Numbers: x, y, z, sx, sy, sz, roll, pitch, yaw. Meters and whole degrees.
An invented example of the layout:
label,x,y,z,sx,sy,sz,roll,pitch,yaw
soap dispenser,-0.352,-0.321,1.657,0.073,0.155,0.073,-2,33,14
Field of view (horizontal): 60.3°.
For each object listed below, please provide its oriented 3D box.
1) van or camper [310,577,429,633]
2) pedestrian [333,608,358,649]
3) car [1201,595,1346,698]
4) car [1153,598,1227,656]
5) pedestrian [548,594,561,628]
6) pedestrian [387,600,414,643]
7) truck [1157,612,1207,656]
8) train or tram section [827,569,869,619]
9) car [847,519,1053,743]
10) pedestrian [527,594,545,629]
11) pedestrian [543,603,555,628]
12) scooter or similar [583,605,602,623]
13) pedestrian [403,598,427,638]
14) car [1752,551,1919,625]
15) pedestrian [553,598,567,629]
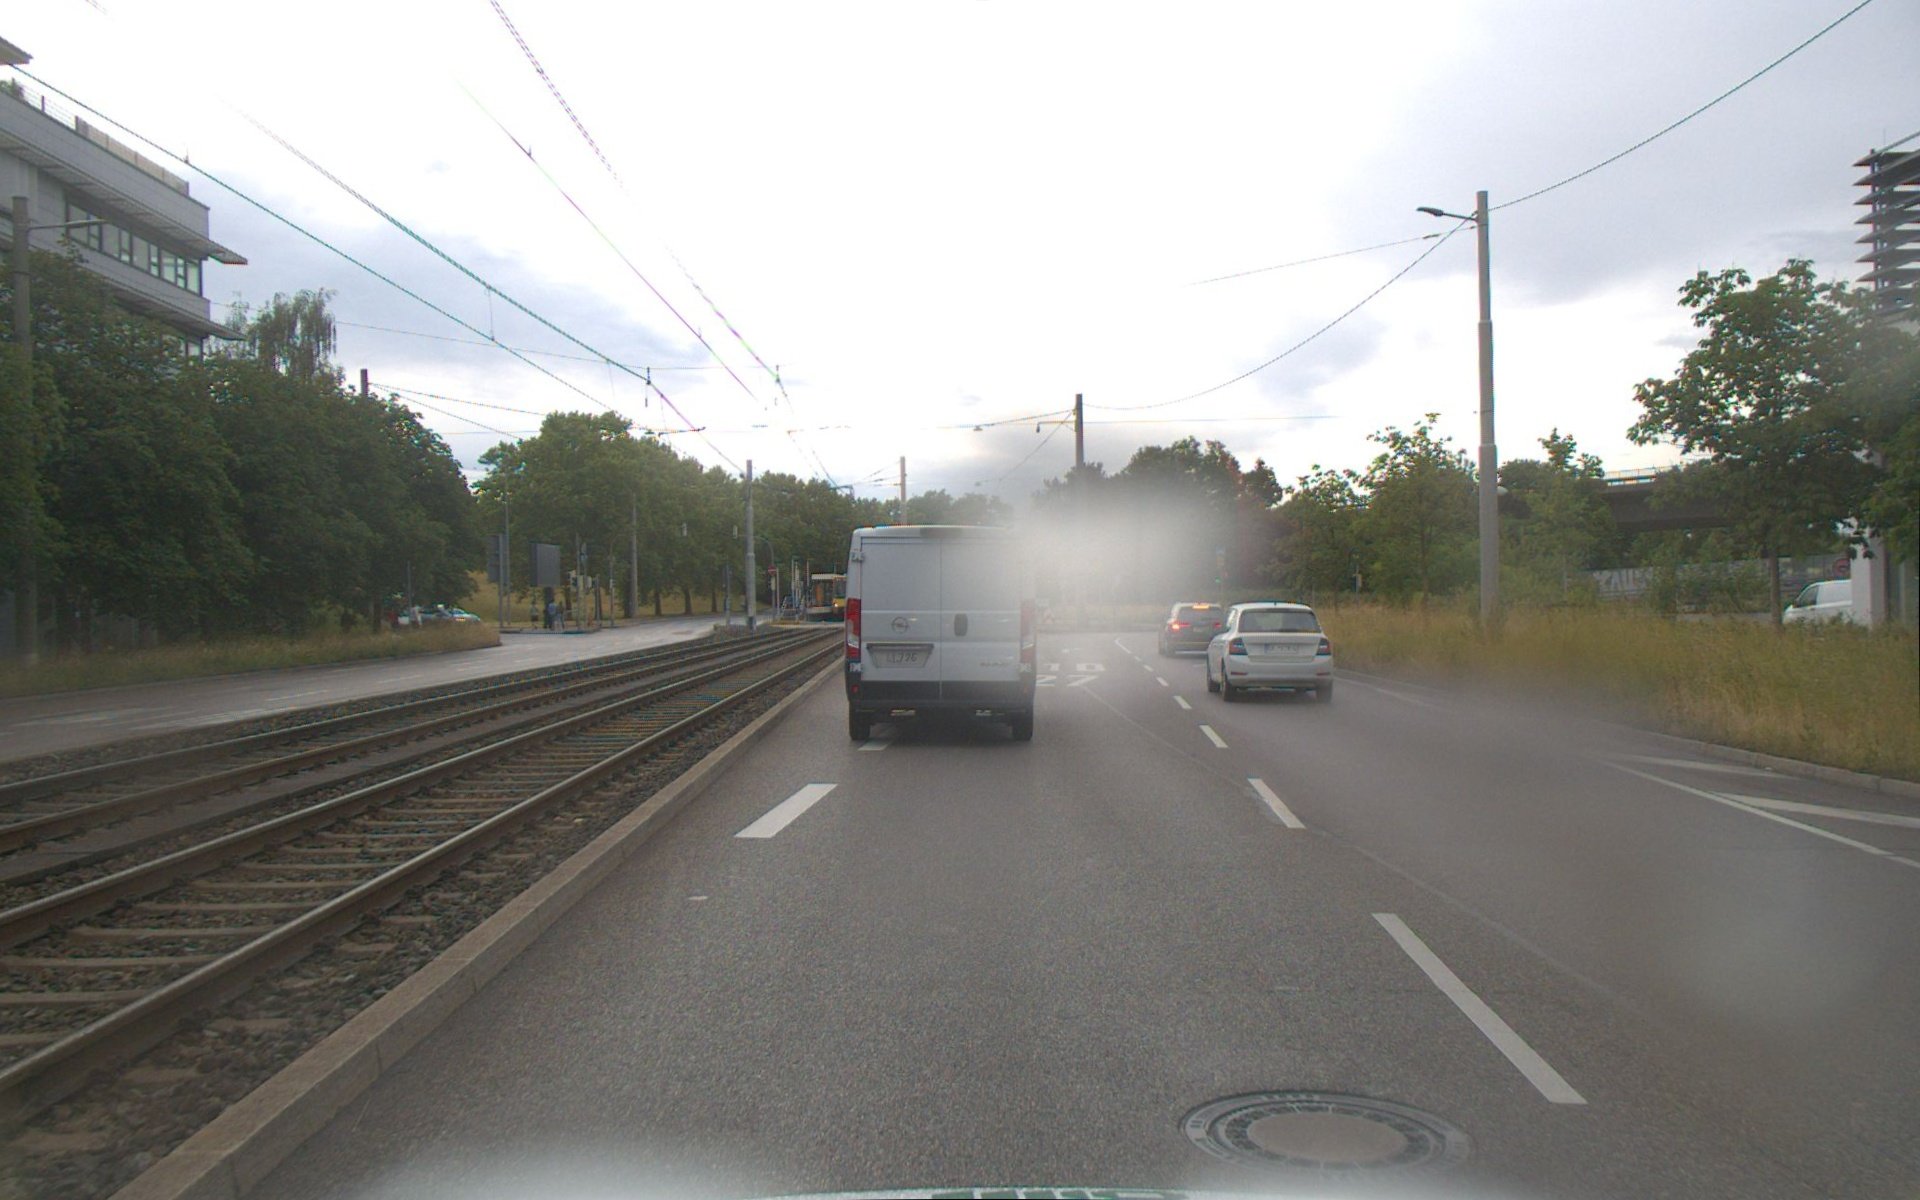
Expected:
label,x,y,z,sx,sy,sz,roll,pitch,yaw
van or camper,-32.982,0.241,92.279,7.221,3.019,2.484,0,1,34
pedestrian,-27.385,1.249,73.747,0.710,1.786,0.877,1,0,1
car,4.858,0.670,26.062,1.710,1.483,3.672,1,0,2
car,6.116,0.698,44.289,1.751,1.474,4.002,0,0,5
pedestrian,-23.942,0.647,97.627,0.485,1.990,0.722,1,0,3
pedestrian,-27.114,1.053,80.134,0.868,2.049,0.946,-1,0,14
truck,9.998,1.502,74.298,1.951,1.822,4.418,-1,0,11
train or tram section,-9.459,-0.494,139.835,2.868,4.001,7.006,1,0,1
car,-0.129,0.297,19.257,2.048,2.235,5.060,1,0,-1
pedestrian,-25.332,0.705,98.763,0.870,2.049,0.864,-1,0,-6
pedestrian,-24.563,0.928,98.951,0.485,1.499,0.722,1,0,1
scooter or similar,-24.896,0.964,112.122,0.374,1.182,1.271,-1,1,44
pedestrian,-26.369,0.882,80.050,0.620,1.900,0.954,-1,0,15
car,25.550,-0.345,48.420,2.003,2.049,5.086,0,0,-4
pedestrian,-23.554,0.773,97.392,0.495,1.818,0.832,1,0,4
